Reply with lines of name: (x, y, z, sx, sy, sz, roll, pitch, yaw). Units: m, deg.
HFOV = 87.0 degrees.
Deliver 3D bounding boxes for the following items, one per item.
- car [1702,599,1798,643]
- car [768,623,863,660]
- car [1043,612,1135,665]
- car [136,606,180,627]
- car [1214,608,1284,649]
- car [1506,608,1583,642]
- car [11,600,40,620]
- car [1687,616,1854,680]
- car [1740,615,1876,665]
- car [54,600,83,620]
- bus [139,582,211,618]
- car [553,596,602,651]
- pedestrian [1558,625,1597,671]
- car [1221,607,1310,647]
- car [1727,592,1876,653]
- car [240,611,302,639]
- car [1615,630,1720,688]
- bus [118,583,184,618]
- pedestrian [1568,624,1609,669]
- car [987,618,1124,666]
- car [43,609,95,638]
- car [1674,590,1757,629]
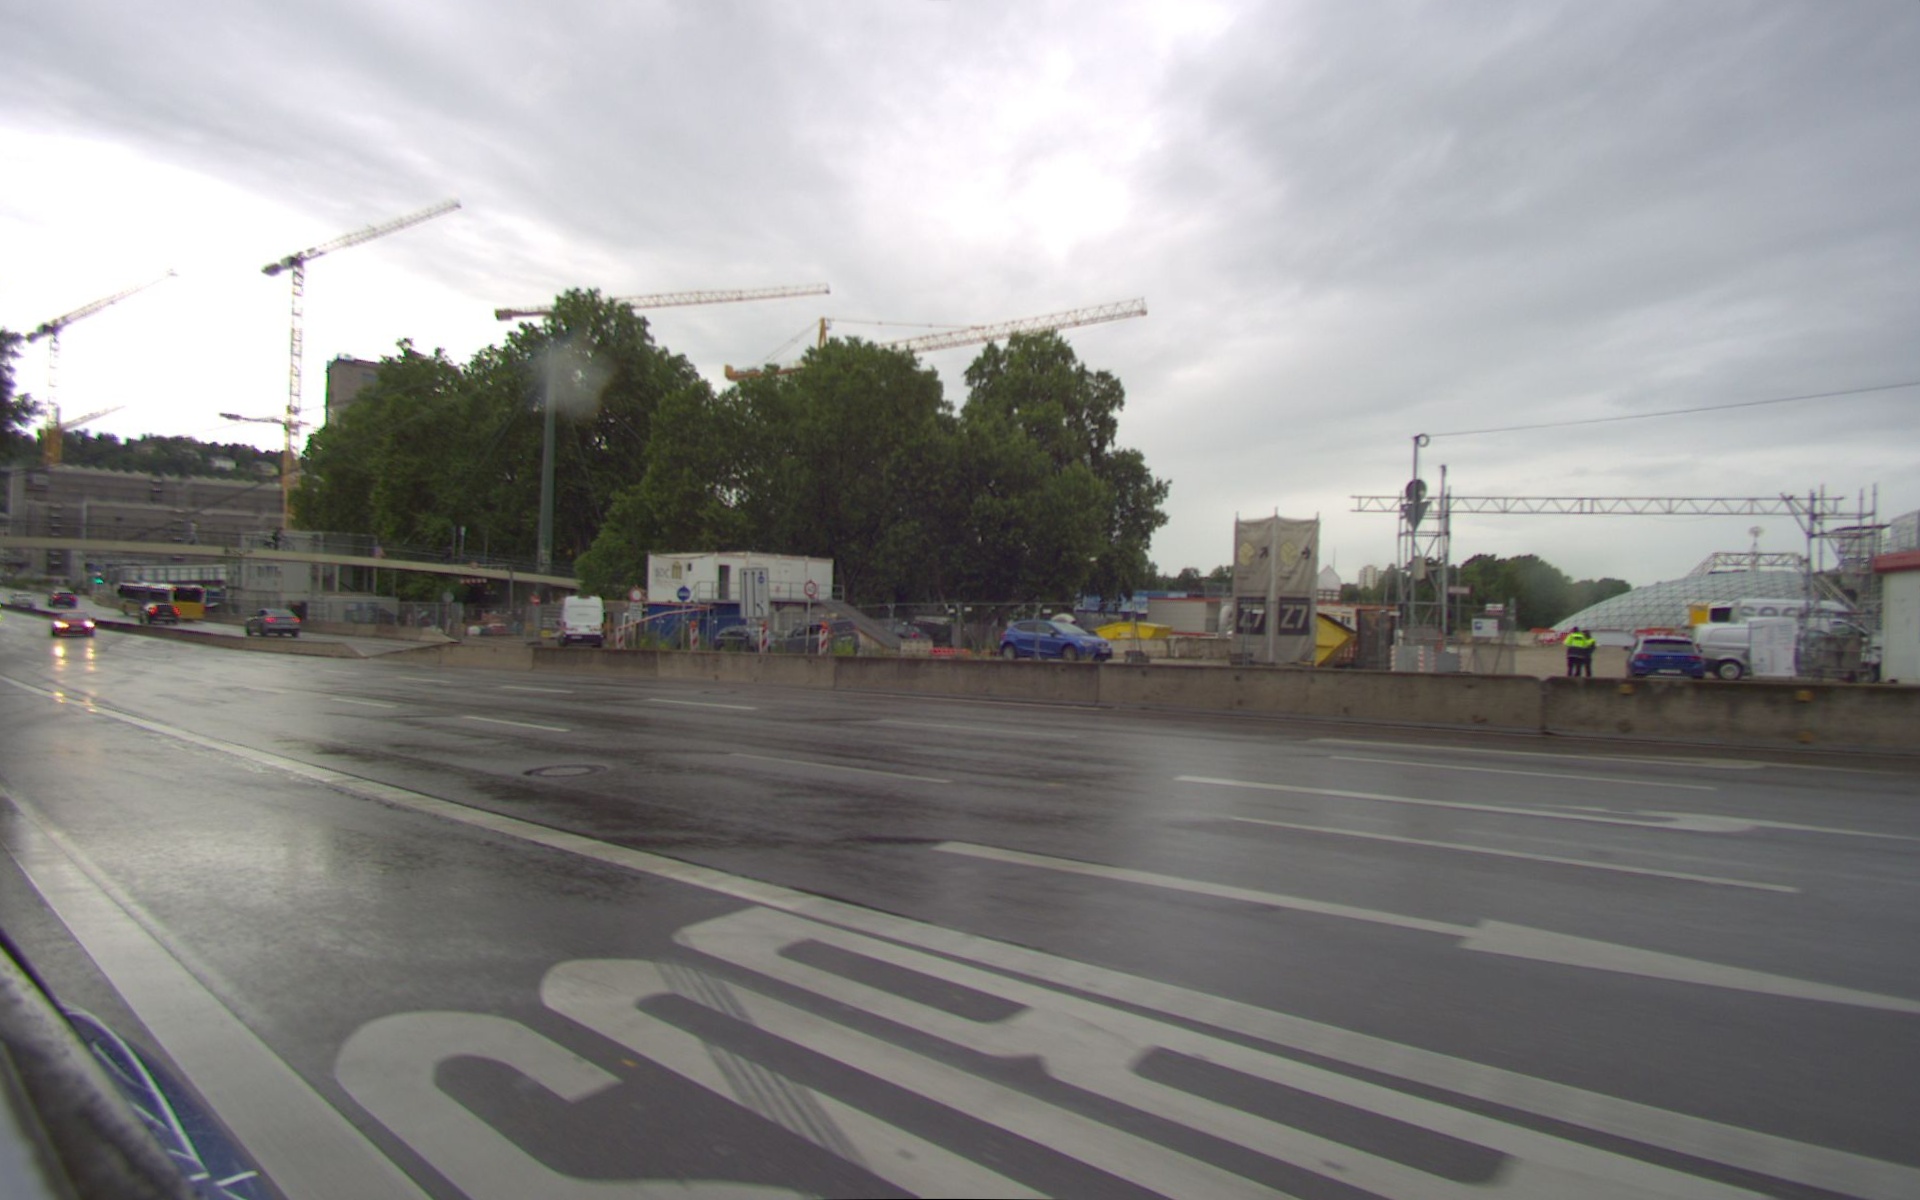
car: (43.685, 1.173, 55.975, 3.933, 2.402, 2.174, 1, -2, -14)
car: (-6.238, 1.728, 43.256, 1.814, 1.501, 4.444, 2, -2, -43)
car: (6.136, 1.805, 48.396, 3.998, 2.402, 1.973, -1, -2, 41)
car: (-61.669, 1.263, 77.782, 4.436, 1.588, 1.817, -1, -2, 40)
car: (17.266, 1.710, 60.630, 3.962, 2.402, 1.991, 0, -2, 14)
car: (36.821, 1.536, 63.788, 3.931, 2.029, 2.006, -1, 0, -17)
car: (-95.832, 1.030, 103.722, 4.002, 2.029, 1.971, -1, -2, 45)
car: (26.449, 1.539, 33.238, 3.985, 1.955, 1.979, 0, -3, 30)
car: (34.884, 1.633, 41.775, 3.985, 1.955, 1.979, 0, -3, 30)
car: (-93.306, 1.022, 105.956, 4.002, 2.029, 1.971, -1, -2, 45)
bus: (-68.326, 0.033, 88.008, 8.949, 2.963, 3.228, -1, 0, 41)
car: (-20.309, 1.266, 53.630, 2.044, 2.759, 4.608, 1, -2, -25)
pedestrian: (18.671, 1.431, 30.595, 0.734, 1.363, 0.838, 1, -2, -43)
car: (18.749, 1.672, 62.353, 4.886, 2.402, 1.997, 0, -2, 5)
car: (38.022, 1.029, 45.916, 4.800, 2.610, 2.257, -1, -2, 29)
car: (-40.019, 1.443, 58.730, 4.436, 1.588, 1.817, -1, -2, 40)
car: (20.771, 1.681, 29.891, 1.990, 1.519, 3.963, -1, -1, 27)
bus: (-75.088, 0.112, 93.841, 8.949, 3.079, 3.196, -1, 0, 41)
pedestrian: (19.391, 1.418, 31.236, 0.735, 1.363, 0.837, 0, -2, 5)
car: (3.113, 1.354, 33.611, 1.814, 1.501, 4.443, 2, -2, -44)
car: (-50.455, 1.346, 57.274, 3.998, 1.564, 1.668, -2, -2, 41)
car: (48.418, 0.650, 64.888, 3.933, 2.402, 2.179, 1, -2, -14)
